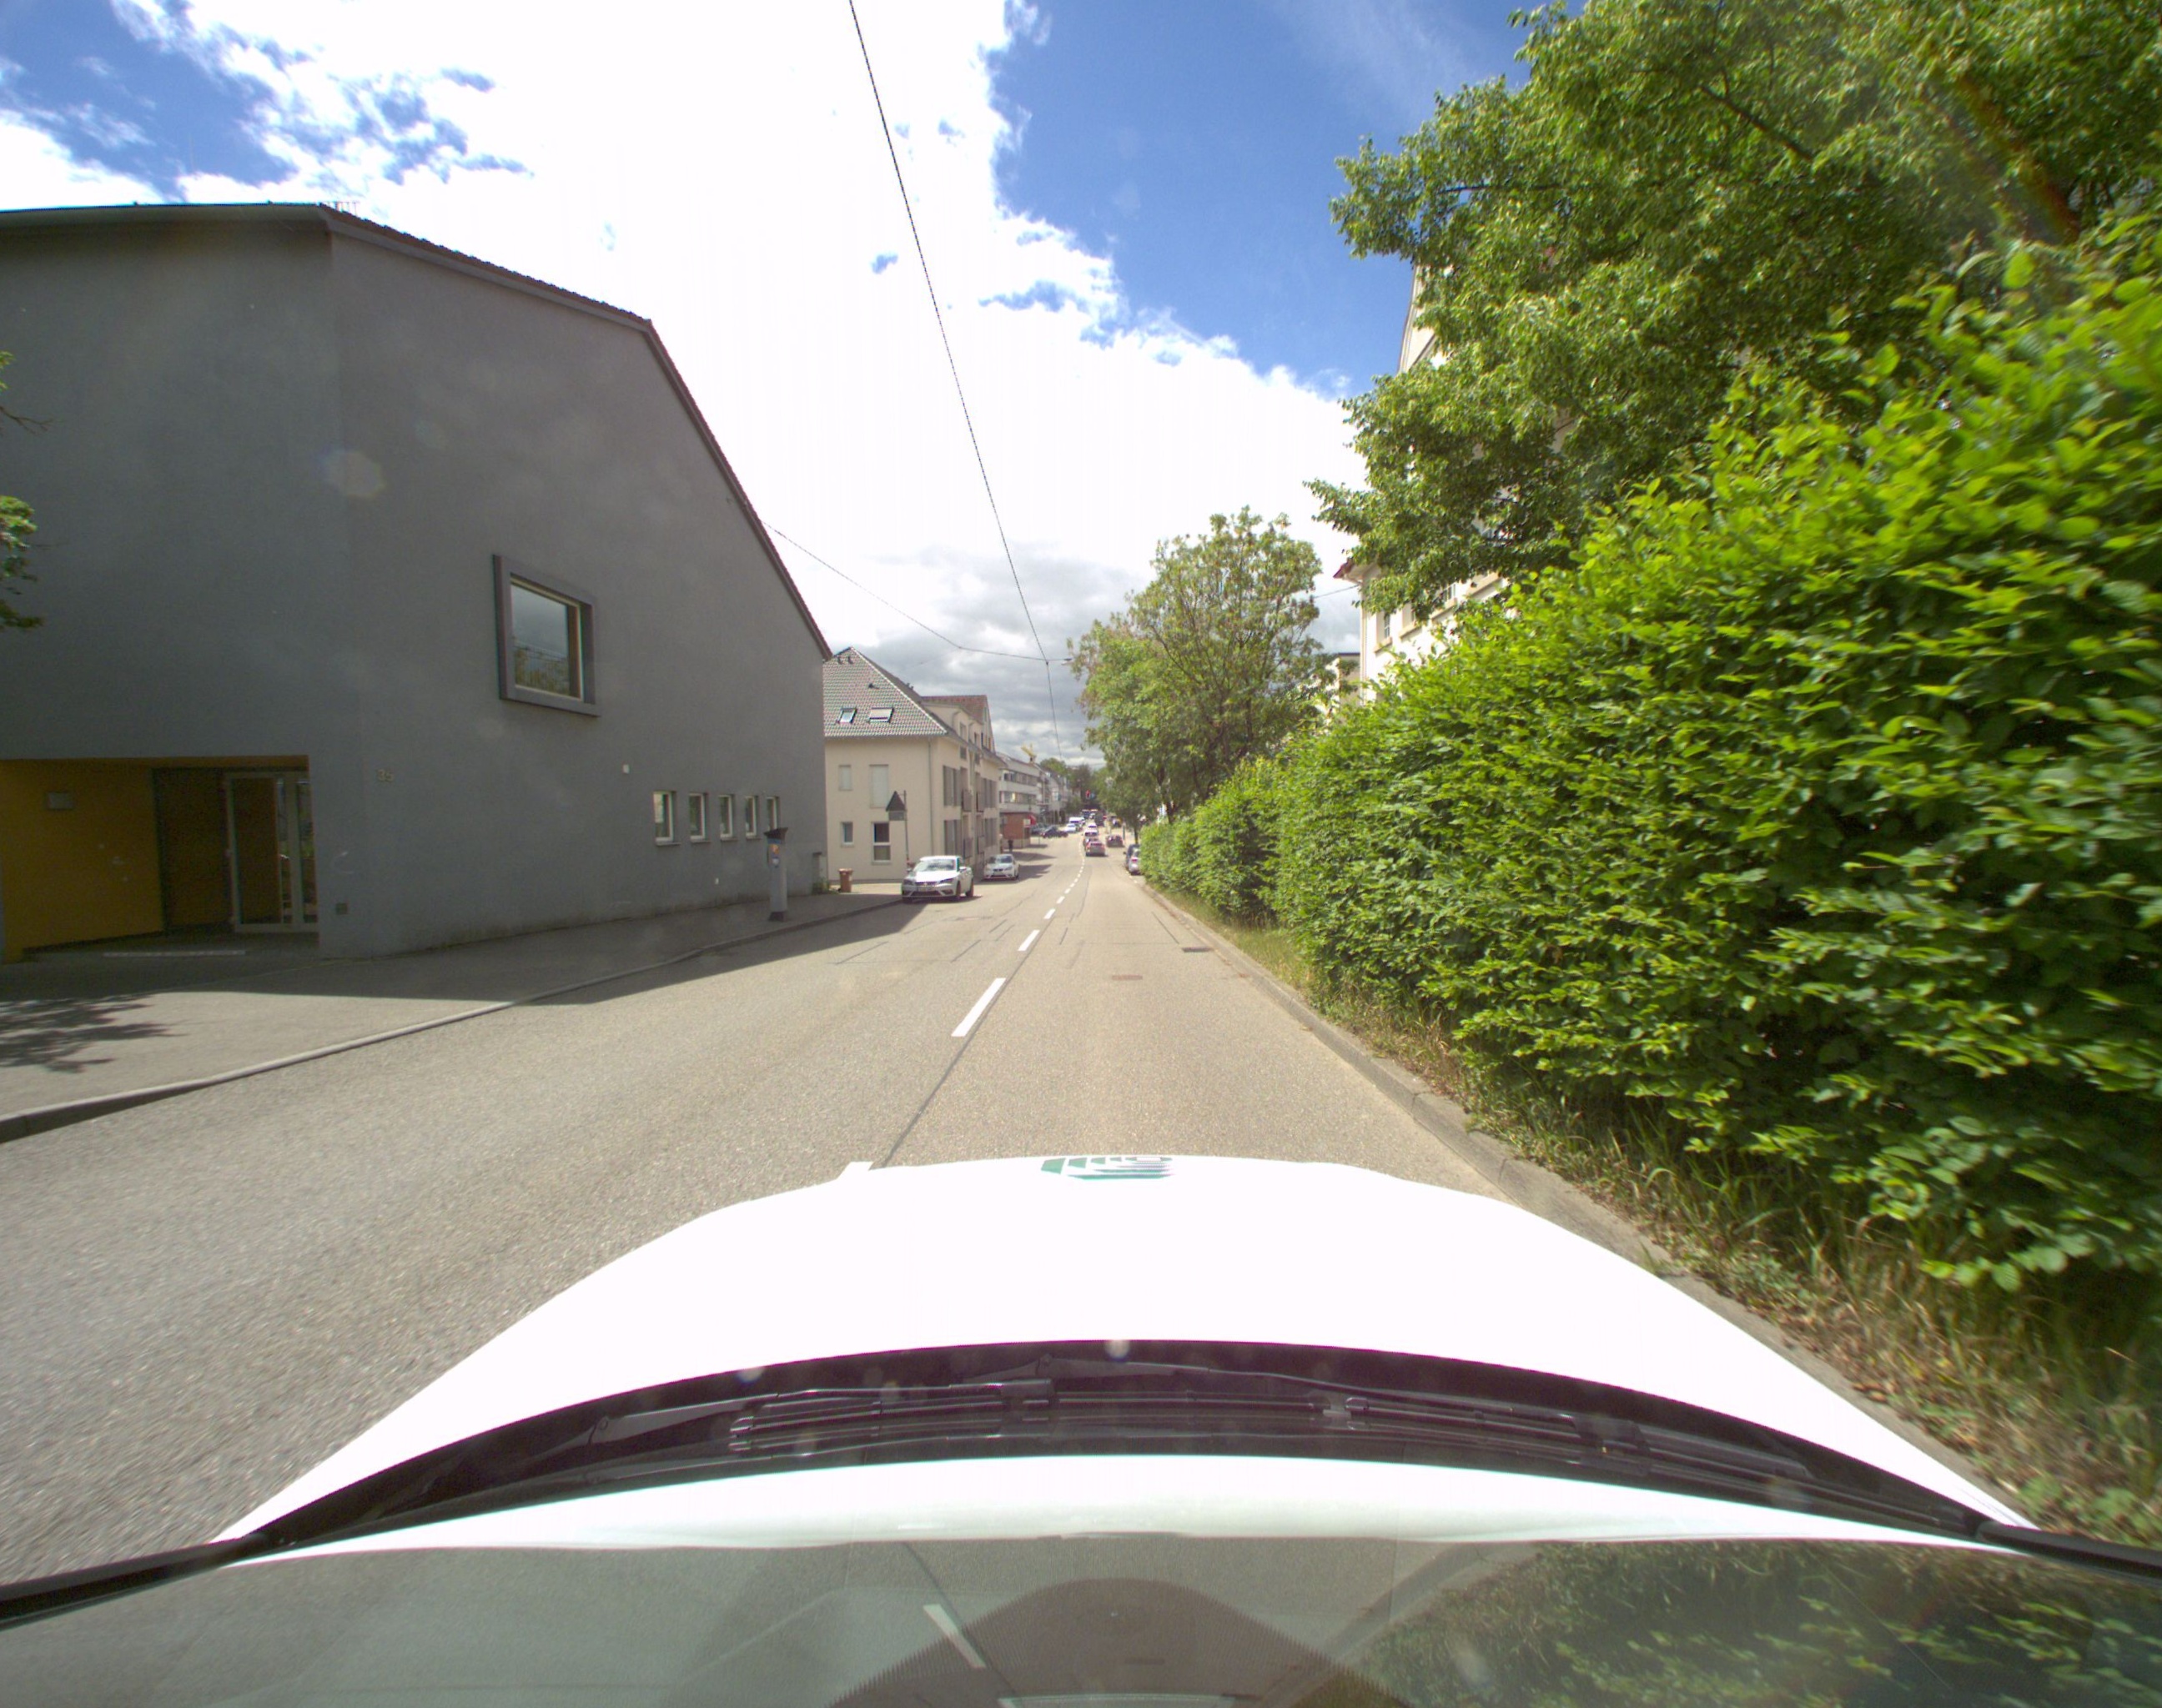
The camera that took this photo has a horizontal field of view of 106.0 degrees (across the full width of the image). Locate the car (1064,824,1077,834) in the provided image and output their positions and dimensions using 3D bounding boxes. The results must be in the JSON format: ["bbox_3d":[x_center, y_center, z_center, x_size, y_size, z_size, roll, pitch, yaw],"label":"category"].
[{"bbox_3d":[-1.793,-4.394,142.673,1.865,1.640,4.004,1,1,3],"label":"car"}]

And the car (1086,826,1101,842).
[{"bbox_3d":[1.524,-2.436,99.924,1.830,1.861,3.851,0,1,1],"label":"car"}]

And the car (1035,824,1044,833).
[{"bbox_3d":[-7.334,-4.531,144.262,1.379,1.540,3.400,-1,1,1],"label":"car"}]

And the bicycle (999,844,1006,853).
[{"bbox_3d":[-7.680,-0.532,79.843,0.465,0.861,1.778,0,3,1],"label":"bicycle"}]

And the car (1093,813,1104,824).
[{"bbox_3d":[3.921,-7.781,180.207,2.428,2.318,5.328,0,2,1],"label":"car"}]

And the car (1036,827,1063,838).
[{"bbox_3d":[-4.589,-3.115,120.209,3.668,1.614,1.562,0,1,-26],"label":"car"}]

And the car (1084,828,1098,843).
[{"bbox_3d":[1.398,-2.498,110.247,1.830,1.861,3.851,0,1,1],"label":"car"}]

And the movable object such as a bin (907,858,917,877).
[{"bbox_3d":[-8.480,0.667,40.946,0.412,0.953,0.391,-1,0,-2],"label":"movable object such as a bin"}]

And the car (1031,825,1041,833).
[{"bbox_3d":[-7.666,-4.259,139.075,1.546,1.376,3.400,-1,1,1],"label":"car"}]

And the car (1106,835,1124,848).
[{"bbox_3d":[3.965,-1.513,96.138,1.749,1.370,3.998,-1,4,-3],"label":"car"}]

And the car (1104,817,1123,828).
[{"bbox_3d":[5.313,-5.178,134.144,1.765,1.557,4.023,-2,1,23],"label":"car"}]

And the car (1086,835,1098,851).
[{"bbox_3d":[1.163,-1.226,89.596,1.269,1.527,3.052,-1,4,0],"label":"car"}]

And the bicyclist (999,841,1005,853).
[{"bbox_3d":[-7.707,-0.672,79.695,0.456,1.179,0.625,-1,1,1],"label":"bicyclist"}]

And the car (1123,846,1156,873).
[{"bbox_3d":[3.538,0.299,49.762,1.780,1.509,4.366,0,1,1],"label":"car"}]

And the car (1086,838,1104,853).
[{"bbox_3d":[1.416,-0.847,80.617,1.738,1.416,4.001,-1,1,1],"label":"car"}]

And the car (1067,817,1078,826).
[{"bbox_3d":[-1.574,-6.242,156.791,1.865,1.640,4.004,-1,1,3],"label":"car"}]

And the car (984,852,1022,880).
[{"bbox_3d":[-4.275,0.617,45.018,1.641,1.418,3.699,0,1,1],"label":"car"}]

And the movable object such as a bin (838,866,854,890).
[{"bbox_3d":[-9.202,0.941,31.870,0.452,0.929,0.399,-2,0,0],"label":"movable object such as a bin"}]

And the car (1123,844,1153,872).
[{"bbox_3d":[3.831,0.226,55.556,1.838,1.767,4.516,0,1,1],"label":"car"}]

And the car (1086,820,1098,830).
[{"bbox_3d":[1.890,-4.857,136.966,1.881,1.508,4.001,-2,1,1],"label":"car"}]

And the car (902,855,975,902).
[{"bbox_3d":[-4.600,0.752,26.793,1.692,1.390,3.866,-1,1,0],"label":"car"}]

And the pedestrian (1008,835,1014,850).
[{"bbox_3d":[-7.513,-1.201,87.292,0.628,1.602,0.560,-1,1,-12],"label":"pedestrian"}]
